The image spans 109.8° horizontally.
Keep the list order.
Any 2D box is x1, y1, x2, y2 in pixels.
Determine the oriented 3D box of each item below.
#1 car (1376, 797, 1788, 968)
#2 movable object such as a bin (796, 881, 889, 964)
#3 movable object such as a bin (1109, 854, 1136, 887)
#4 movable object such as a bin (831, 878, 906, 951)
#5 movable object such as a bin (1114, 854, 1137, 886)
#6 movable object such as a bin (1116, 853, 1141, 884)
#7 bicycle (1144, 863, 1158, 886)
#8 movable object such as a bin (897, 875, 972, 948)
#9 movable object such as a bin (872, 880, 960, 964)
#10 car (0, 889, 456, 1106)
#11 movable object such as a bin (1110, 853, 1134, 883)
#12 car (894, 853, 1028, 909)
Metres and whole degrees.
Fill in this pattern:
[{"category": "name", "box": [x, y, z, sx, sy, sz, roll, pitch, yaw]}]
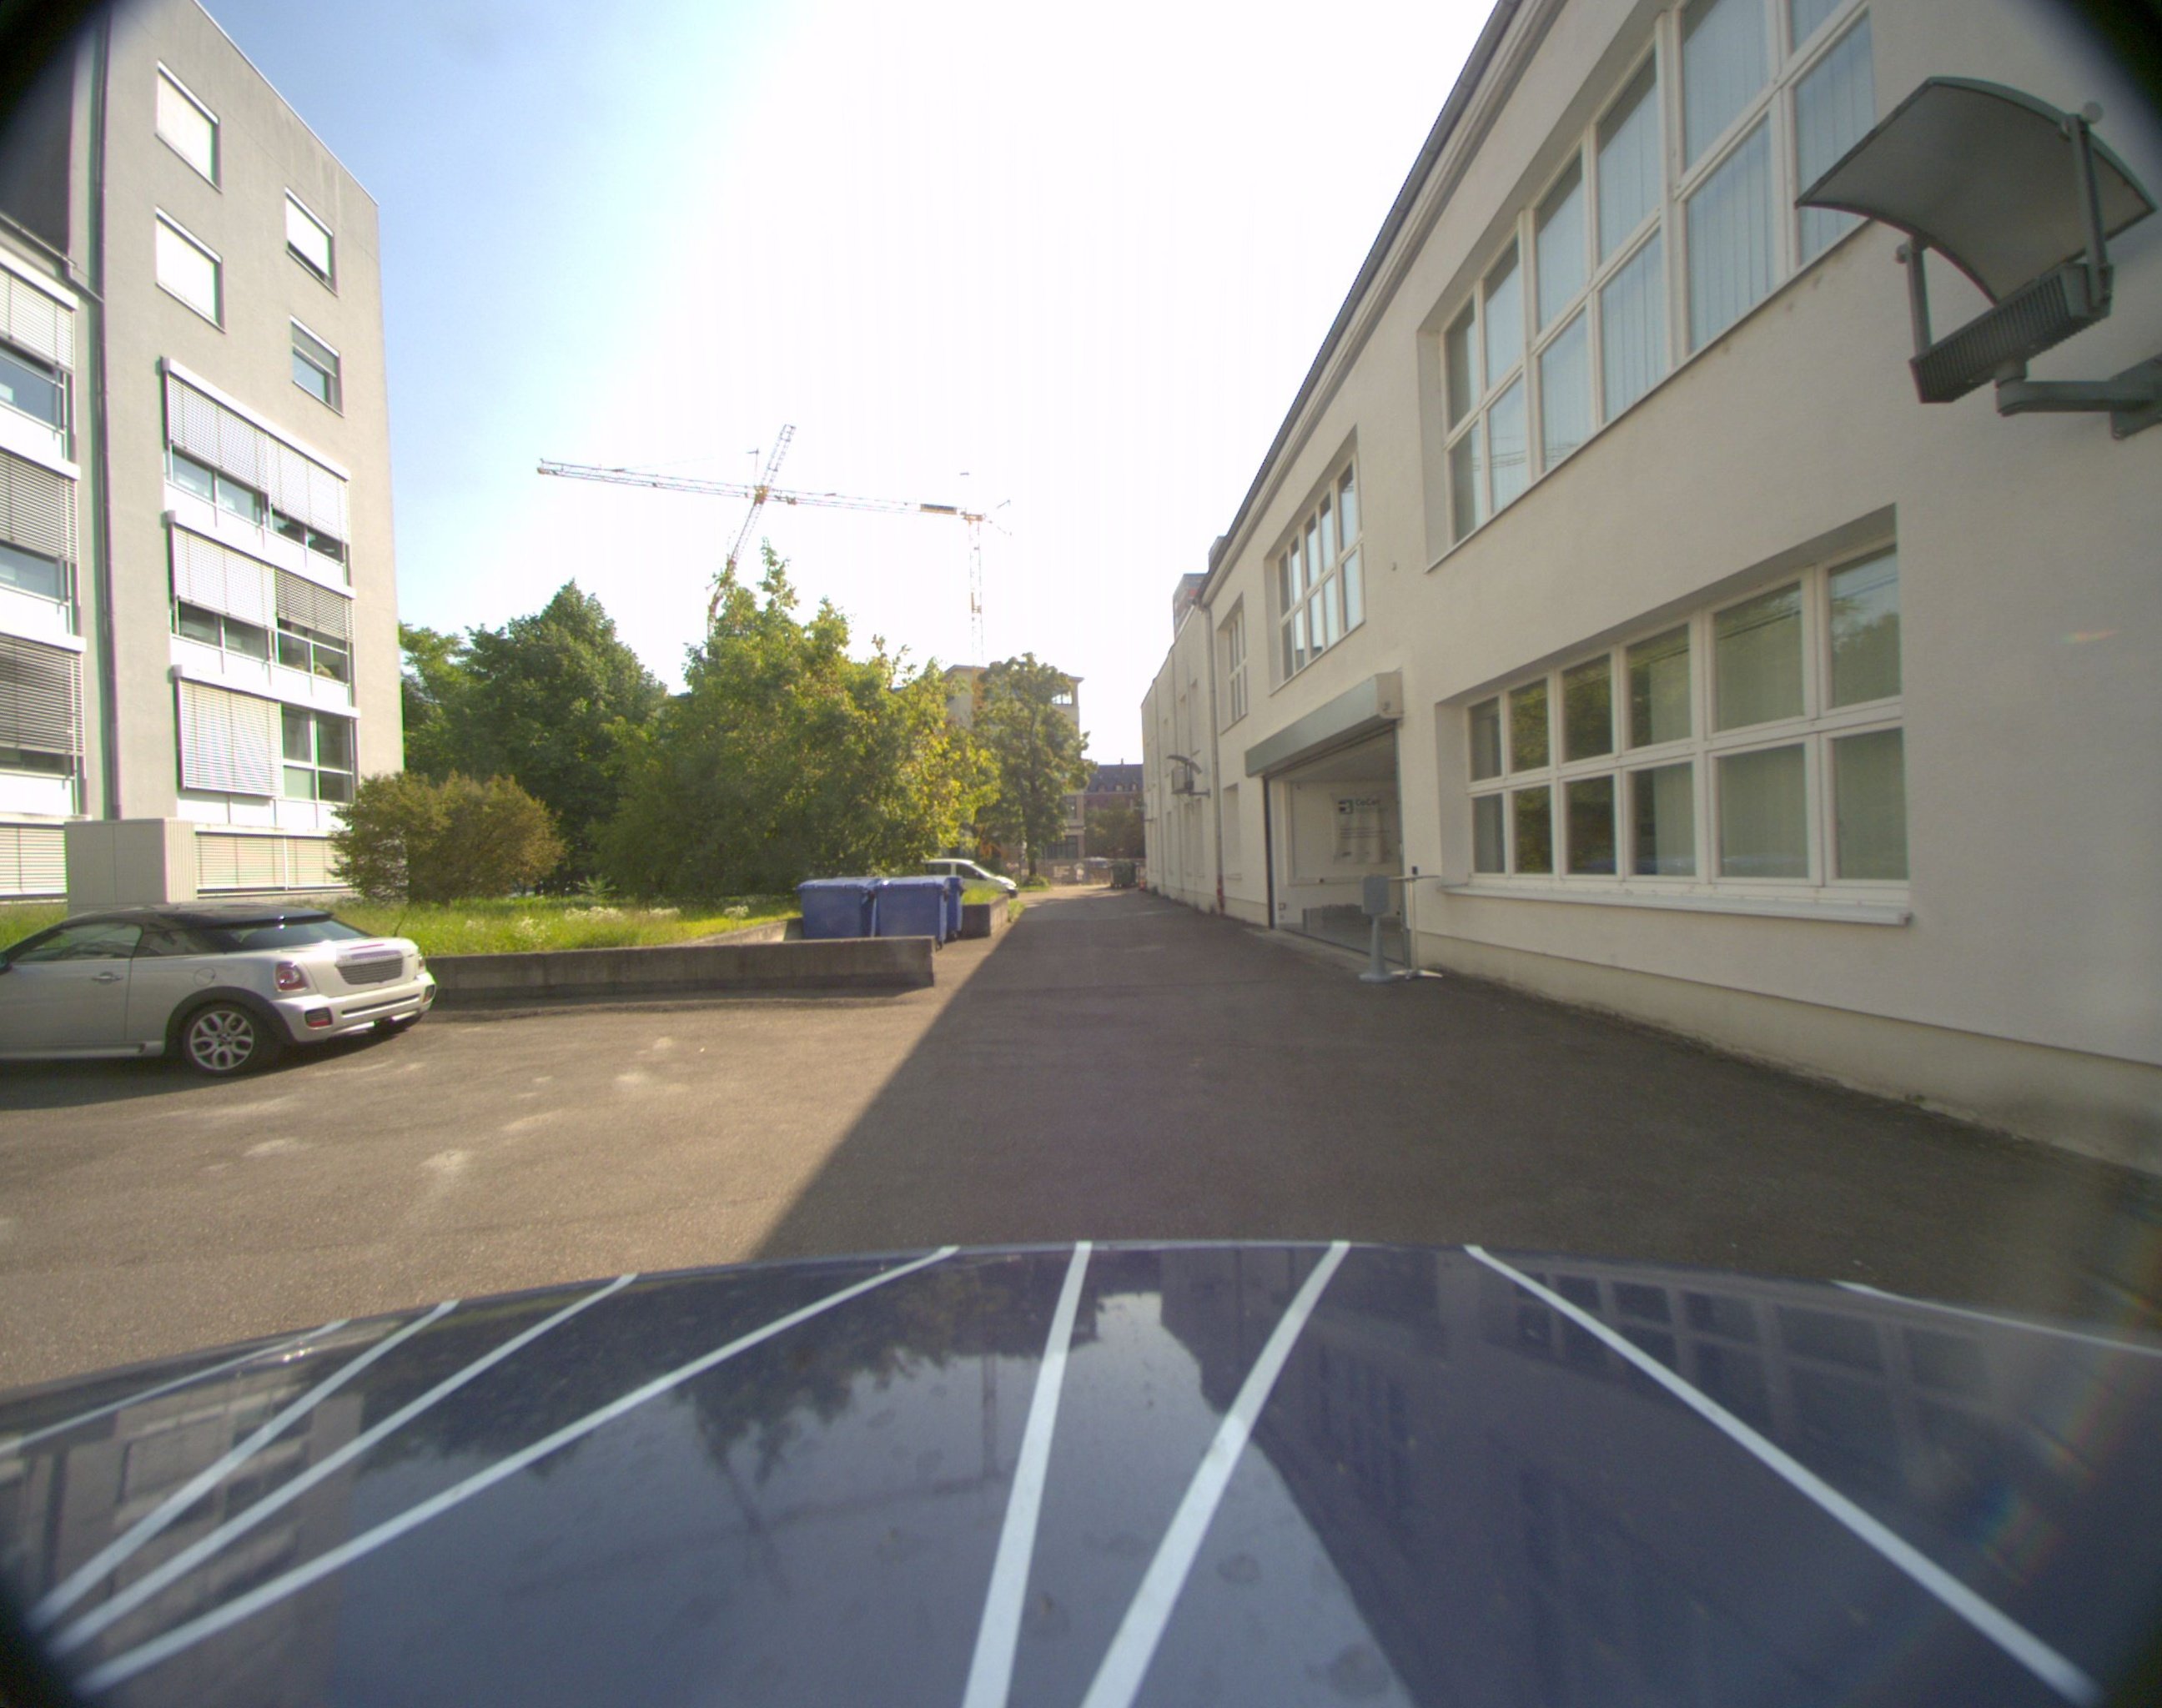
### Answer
[{"category": "car", "box": [7.248, 0.381, 11.379, 4.759, 2.080, 2.055, -3, 1, -1]}, {"category": "movable object such as a bin", "box": [-4.274, 1.210, 13.715, 1.237, 1.332, 1.117, -3, 1, 2]}, {"category": "movable object such as a bin", "box": [2.197, 0.872, 40.408, 1.184, 1.696, 1.376, -3, 1, -5]}, {"category": "movable object such as a bin", "box": [-4.284, 1.210, 15.432, 1.230, 1.332, 1.076, -3, 1, -6]}, {"category": "movable object such as a bin", "box": [2.466, 0.851, 42.217, 1.183, 1.696, 1.395, -3, 1, 2]}, {"category": "movable object such as a bin", "box": [2.710, 0.833, 43.632, 1.184, 1.696, 1.376, -3, 1, -5]}, {"category": "bicycle", "box": [3.857, 1.103, 41.982, 0.477, 1.206, 2.007, -3, 0, -3]}, {"category": "movable object such as a bin", "box": [-2.951, 1.150, 15.457, 1.313, 1.332, 1.099, -3, 1, -5]}, {"category": "movable object such as a bin", "box": [-2.943, 1.196, 13.705, 1.304, 1.332, 1.194, -3, 1, -2]}, {"category": "car", "box": [-8.180, 1.168, 6.778, 3.629, 1.536, 1.802, 2, 0, -3]}, {"category": "movable object such as a bin", "box": [2.407, 0.839, 45.022, 1.184, 1.696, 1.376, -3, 1, -5]}, {"category": "car", "box": [-4.781, 1.074, 30.818, 4.970, 1.910, 2.043, -3, 1, 0]}]
